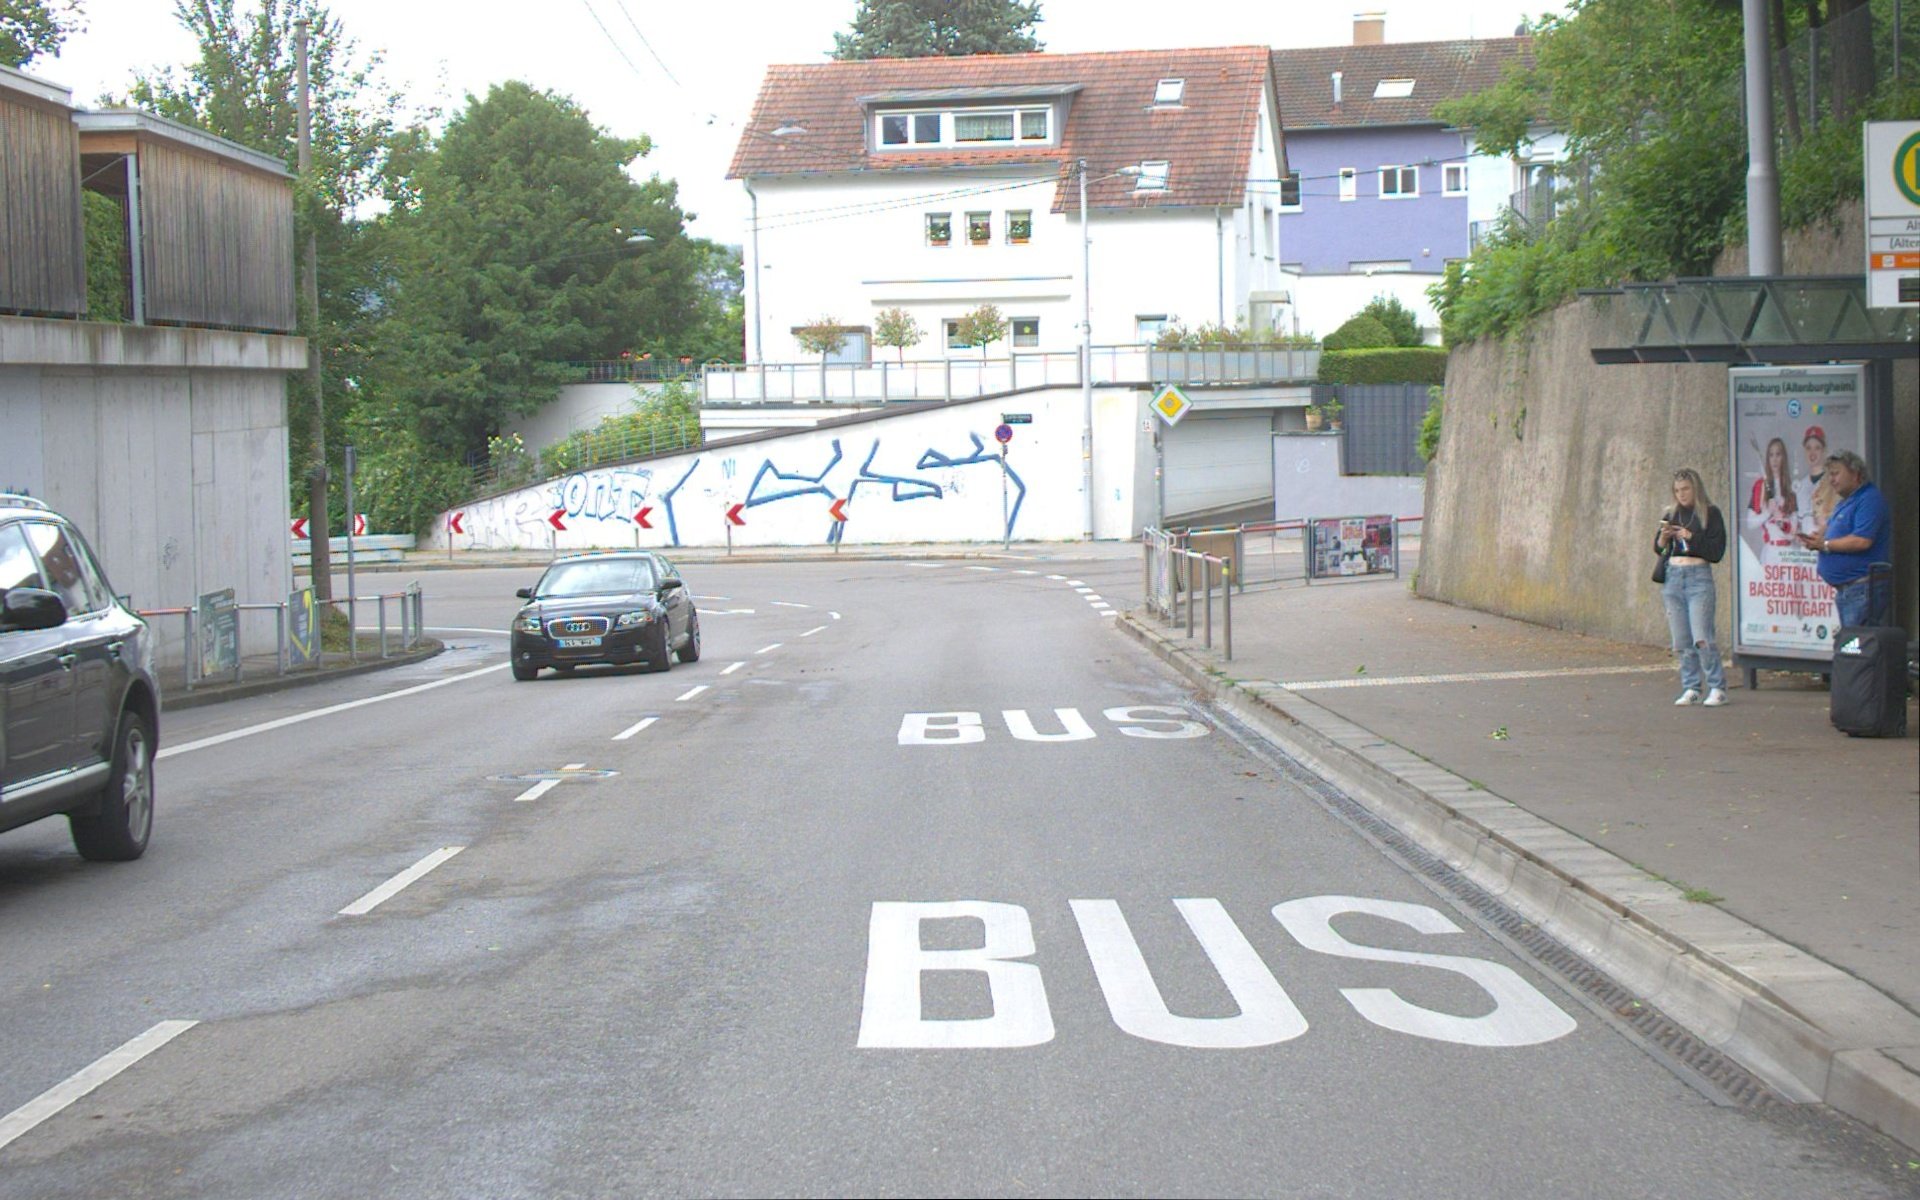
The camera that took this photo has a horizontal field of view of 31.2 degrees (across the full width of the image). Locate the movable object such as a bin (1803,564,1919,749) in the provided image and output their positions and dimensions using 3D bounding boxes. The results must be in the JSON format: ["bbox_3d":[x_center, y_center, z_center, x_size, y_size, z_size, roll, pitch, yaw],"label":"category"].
[{"bbox_3d":[5.316,0.319,19.881,0.674,1.016,0.627,-2,2,-5],"label":"movable object such as a bin"}]

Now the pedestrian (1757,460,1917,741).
[{"bbox_3d":[5.239,-0.004,20.562,0.721,1.637,0.631,-2,1,-5],"label":"pedestrian"}]

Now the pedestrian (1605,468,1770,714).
[{"bbox_3d":[4.849,-0.065,22.907,0.737,1.582,0.771,-1,3,41],"label":"pedestrian"}]

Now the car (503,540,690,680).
[{"bbox_3d":[-4.240,0.080,40.652,1.735,1.527,4.000,-2,1,0],"label":"car"}]

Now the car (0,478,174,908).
[{"bbox_3d":[-4.877,0.388,14.952,1.894,1.750,4.437,-2,1,-1],"label":"car"}]
